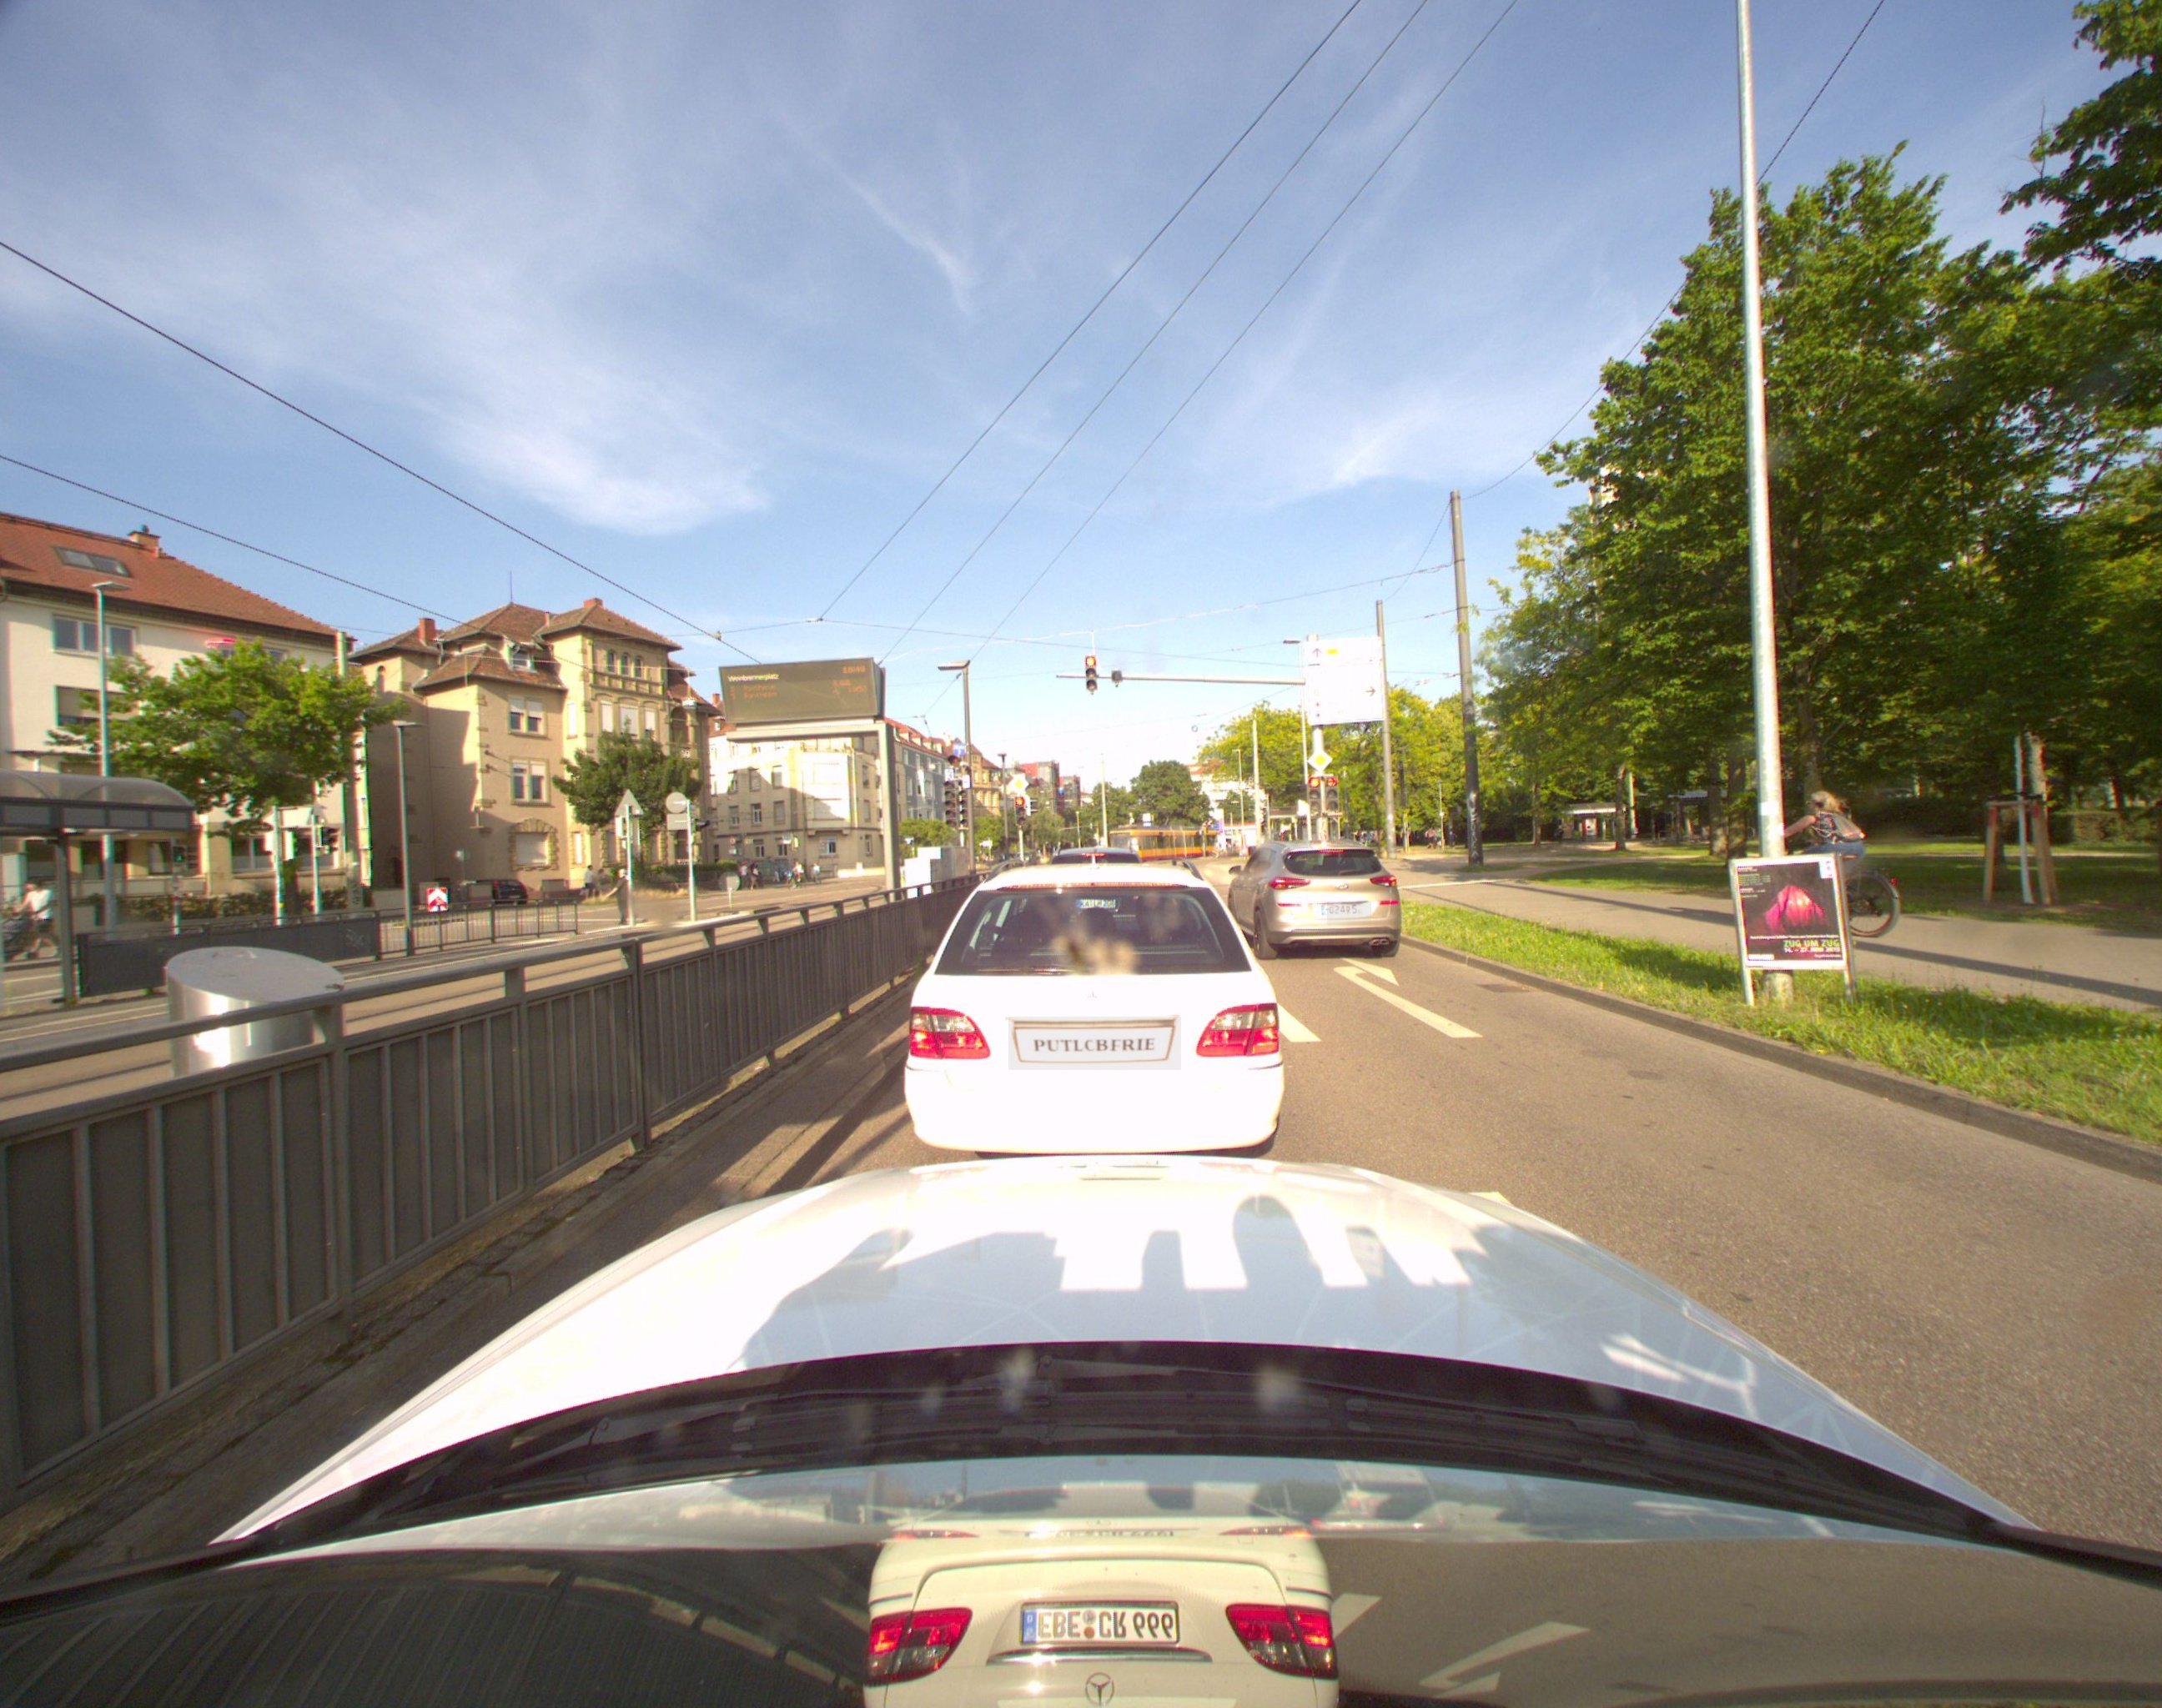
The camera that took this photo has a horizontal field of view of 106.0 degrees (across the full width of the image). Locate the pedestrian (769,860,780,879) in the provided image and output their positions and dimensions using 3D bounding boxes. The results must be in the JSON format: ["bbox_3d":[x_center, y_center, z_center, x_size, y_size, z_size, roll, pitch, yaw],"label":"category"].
[{"bbox_3d":[-27.093,1.345,72.015,0.615,1.660,0.589,-3,0,17],"label":"pedestrian"}]

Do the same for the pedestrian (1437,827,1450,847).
[{"bbox_3d":[27.766,-1.314,62.378,0.805,1.487,0.705,-3,0,26],"label":"pedestrian"}]

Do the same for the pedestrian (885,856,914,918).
[{"bbox_3d":[-4.851,0.860,21.805,0.611,1.599,0.632,-3,0,-5],"label":"pedestrian"}]

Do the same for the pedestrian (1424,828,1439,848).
[{"bbox_3d":[27.253,-1.252,63.294,0.820,1.487,0.692,-3,0,-40],"label":"pedestrian"}]

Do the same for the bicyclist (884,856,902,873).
[{"bbox_3d":[-14.716,0.802,63.712,0.757,1.262,1.180,-3,0,18],"label":"bicyclist"}]

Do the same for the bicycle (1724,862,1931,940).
[{"bbox_3d":[8.742,0.508,9.693,0.493,0.757,2.169,-4,0,2],"label":"bicycle"}]

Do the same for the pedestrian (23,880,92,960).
[{"bbox_3d":[-23.462,1.484,18.684,0.546,1.746,0.762,-3,0,-3],"label":"pedestrian"}]

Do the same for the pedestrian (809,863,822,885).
[{"bbox_3d":[-19.237,1.467,58.989,0.626,1.541,0.711,-3,0,1],"label":"pedestrian"}]

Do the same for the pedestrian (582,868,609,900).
[{"bbox_3d":[-24.800,1.518,41.579,0.822,1.552,0.786,-3,0,23],"label":"pedestrian"}]

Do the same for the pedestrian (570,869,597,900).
[{"bbox_3d":[-25.646,1.558,41.967,0.822,1.552,0.786,-3,0,23],"label":"pedestrian"}]

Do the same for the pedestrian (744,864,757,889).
[{"bbox_3d":[-20.380,1.364,50.159,0.434,1.500,0.551,-3,0,16],"label":"pedestrian"}]

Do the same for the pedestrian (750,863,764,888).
[{"bbox_3d":[-19.922,1.342,50.076,0.434,1.500,0.551,-3,0,16],"label":"pedestrian"}]

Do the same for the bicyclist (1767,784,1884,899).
[{"bbox_3d":[8.688,-0.142,9.534,0.532,1.262,0.869,-3,0,2],"label":"bicyclist"}]

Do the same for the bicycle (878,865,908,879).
[{"bbox_3d":[-14.677,1.413,63.734,0.778,0.914,3.012,-3,0,18],"label":"bicycle"}]

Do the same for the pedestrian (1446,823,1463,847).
[{"bbox_3d":[29.117,-1.489,63.503,0.797,1.785,0.838,-3,0,-2],"label":"pedestrian"}]

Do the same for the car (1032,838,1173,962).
[{"bbox_3d":[0.347,0.613,12.749,1.878,1.651,3.649,0,0,2],"label":"car"}]

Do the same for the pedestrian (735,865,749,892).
[{"bbox_3d":[-20.911,1.479,50.184,0.506,1.626,0.609,-3,0,3],"label":"pedestrian"}]

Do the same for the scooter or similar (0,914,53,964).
[{"bbox_3d":[-23.408,1.869,17.800,0.555,0.988,1.022,-3,0,-4],"label":"scooter or similar"}]

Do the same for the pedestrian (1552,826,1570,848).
[{"bbox_3d":[35.663,-1.250,60.510,0.831,1.636,0.804,-3,0,8],"label":"pedestrian"}]

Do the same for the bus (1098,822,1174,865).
[{"bbox_3d":[5.320,-0.879,75.129,3.081,3.606,12.442,-1,-1,23],"label":"bus"}]

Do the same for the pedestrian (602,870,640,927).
[{"bbox_3d":[-13.927,1.338,24.644,0.798,1.645,0.748,-3,0,-42],"label":"pedestrian"}]

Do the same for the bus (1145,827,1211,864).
[{"bbox_3d":[10.484,-0.826,86.542,3.080,3.606,12.663,-1,-1,25],"label":"bus"}]

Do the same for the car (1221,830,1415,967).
[{"bbox_3d":[3.331,0.562,12.193,1.878,1.651,3.649,-3,0,2],"label":"car"}]

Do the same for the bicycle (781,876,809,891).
[{"bbox_3d":[-17.236,1.775,49.098,0.521,0.834,1.696,-3,0,26],"label":"bicycle"}]

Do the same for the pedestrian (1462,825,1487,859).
[{"bbox_3d":[19.585,-0.577,40.508,0.758,1.636,0.800,-3,0,-38],"label":"pedestrian"}]

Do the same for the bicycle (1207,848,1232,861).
[{"bbox_3d":[14.353,0.007,84.365,2.467,1.213,0.809,-3,0,9],"label":"bicycle"}]

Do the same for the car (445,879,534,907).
[{"bbox_3d":[-29.456,1.906,40.566,4.066,1.310,1.774,-1,-1,24],"label":"car"}]

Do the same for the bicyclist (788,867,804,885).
[{"bbox_3d":[-17.225,1.313,49.182,0.508,1.044,0.683,-3,0,24],"label":"bicyclist"}]

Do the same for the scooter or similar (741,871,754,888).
[{"bbox_3d":[-20.856,1.595,50.959,0.541,1.079,0.683,-1,-1,1],"label":"scooter or similar"}]

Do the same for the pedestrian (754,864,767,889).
[{"bbox_3d":[-20.200,1.412,51.322,0.530,1.500,0.391,-3,0,16],"label":"pedestrian"}]

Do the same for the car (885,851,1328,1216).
[{"bbox_3d":[0.157,0.734,5.172,1.789,1.470,3.649,-1,0,2],"label":"car"}]

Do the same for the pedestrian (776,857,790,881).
[{"bbox_3d":[-26.675,1.341,72.800,0.768,2.013,0.790,-3,0,17],"label":"pedestrian"}]

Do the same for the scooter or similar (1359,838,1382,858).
[{"bbox_3d":[16.147,-0.328,45.420,0.421,1.117,1.322,-3,0,-18],"label":"scooter or similar"}]

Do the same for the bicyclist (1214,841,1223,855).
[{"bbox_3d":[14.261,-0.615,84.355,0.855,1.481,0.792,-3,0,11],"label":"bicyclist"}]

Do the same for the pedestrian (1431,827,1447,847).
[{"bbox_3d":[28.101,-1.335,63.882,0.813,1.487,0.698,-3,0,-9],"label":"pedestrian"}]
